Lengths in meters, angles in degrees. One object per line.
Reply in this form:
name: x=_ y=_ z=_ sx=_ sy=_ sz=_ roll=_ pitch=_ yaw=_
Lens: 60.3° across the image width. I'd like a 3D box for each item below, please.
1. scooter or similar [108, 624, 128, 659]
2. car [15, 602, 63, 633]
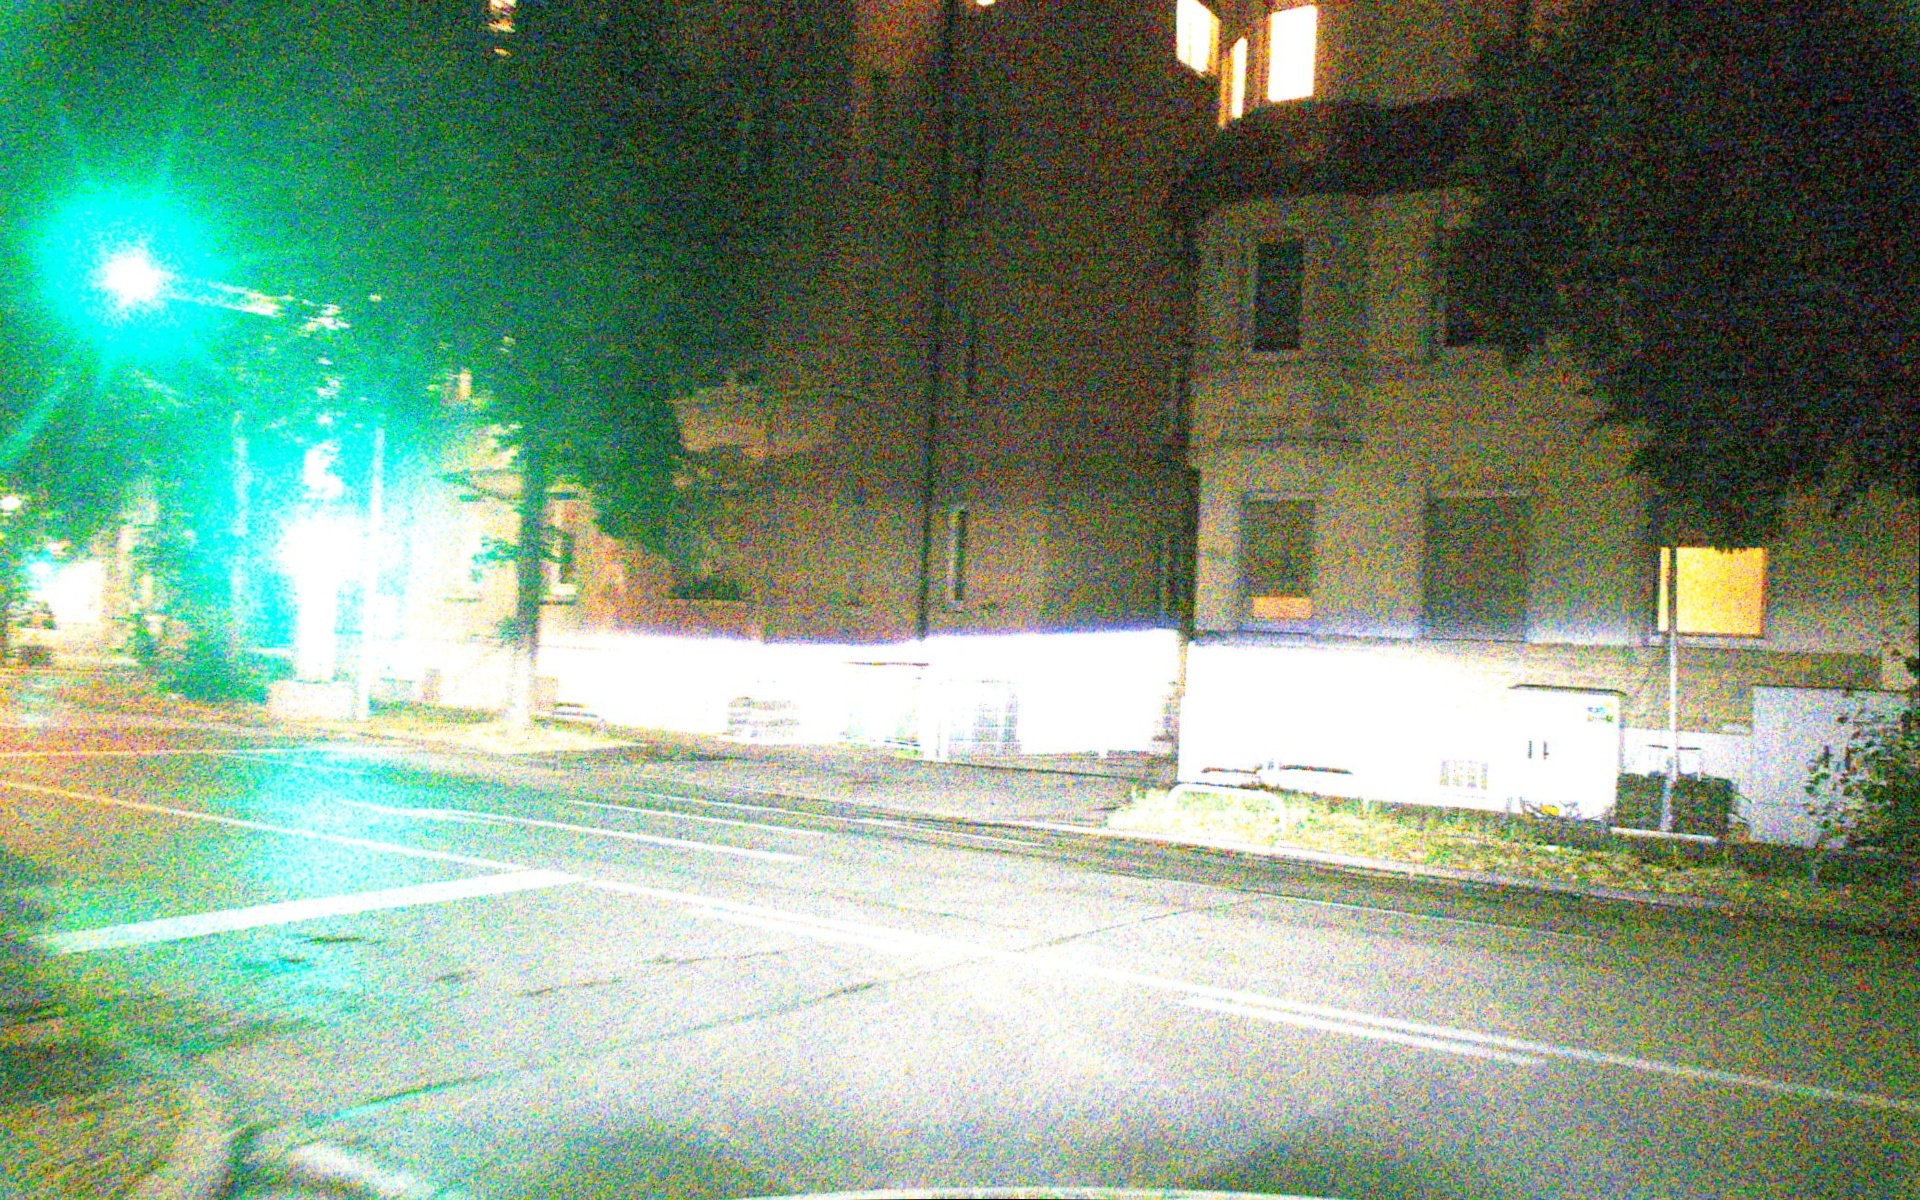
scooter or similar: x=-28.540 y=1.411 z=56.063 sx=0.416 sy=1.150 sz=1.483 roll=3 pitch=-2 yaw=-22
car: x=-48.577 y=0.911 z=87.182 sx=1.718 sy=1.485 sz=4.671 roll=5 pitch=-3 yaw=-34
